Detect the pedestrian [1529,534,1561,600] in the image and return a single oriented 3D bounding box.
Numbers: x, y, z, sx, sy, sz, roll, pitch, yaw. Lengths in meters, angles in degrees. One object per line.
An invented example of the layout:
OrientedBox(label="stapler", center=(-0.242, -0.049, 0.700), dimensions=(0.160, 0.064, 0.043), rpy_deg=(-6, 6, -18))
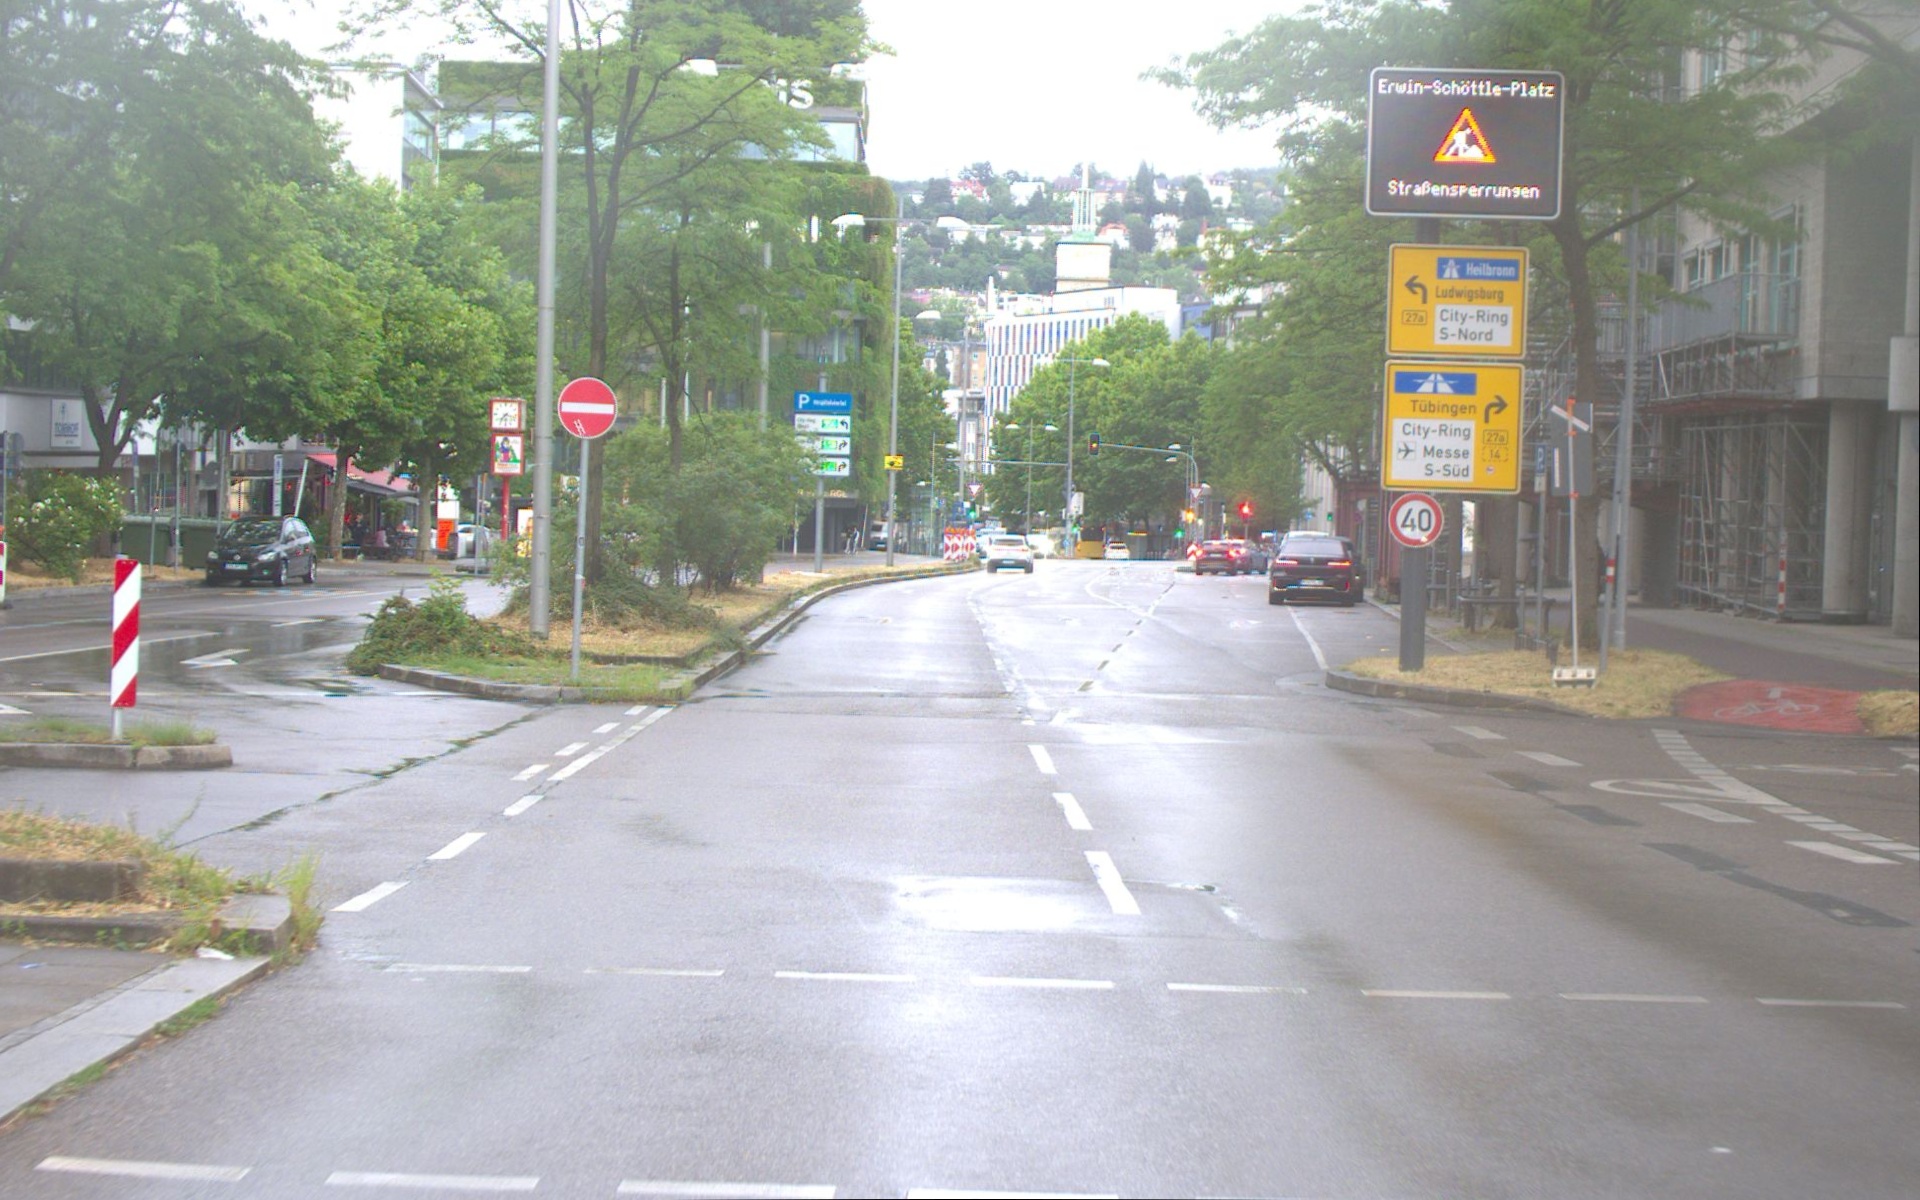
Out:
OrientedBox(label="pedestrian", center=(17.083, -0.950, 100.449), dimensions=(0.775, 1.914, 0.702), rpy_deg=(1, 0, -1))

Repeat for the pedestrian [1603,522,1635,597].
OrientedBox(label="pedestrian", center=(16.966, -1.047, 88.501), dimensions=(0.775, 1.914, 0.702), rpy_deg=(1, 0, 10))

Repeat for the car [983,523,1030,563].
OrientedBox(label="car", center=(1.993, -2.433, 147.866), dimensions=(1.828, 1.634, 4.301), rpy_deg=(2, 0, -1))

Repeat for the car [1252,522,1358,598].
OrientedBox(label="car", center=(7.965, -0.933, 79.040), dimensions=(2.339, 1.685, 3.999), rpy_deg=(1, 1, 7))

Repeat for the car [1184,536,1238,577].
OrientedBox(label="car", center=(11.041, -1.906, 151.338), dimensions=(1.993, 1.718, 4.000), rpy_deg=(1, 0, -1))

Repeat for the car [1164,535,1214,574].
OrientedBox(label="car", center=(10.804, -2.140, 162.420), dimensions=(1.993, 1.730, 4.000), rpy_deg=(1, 0, 0))
